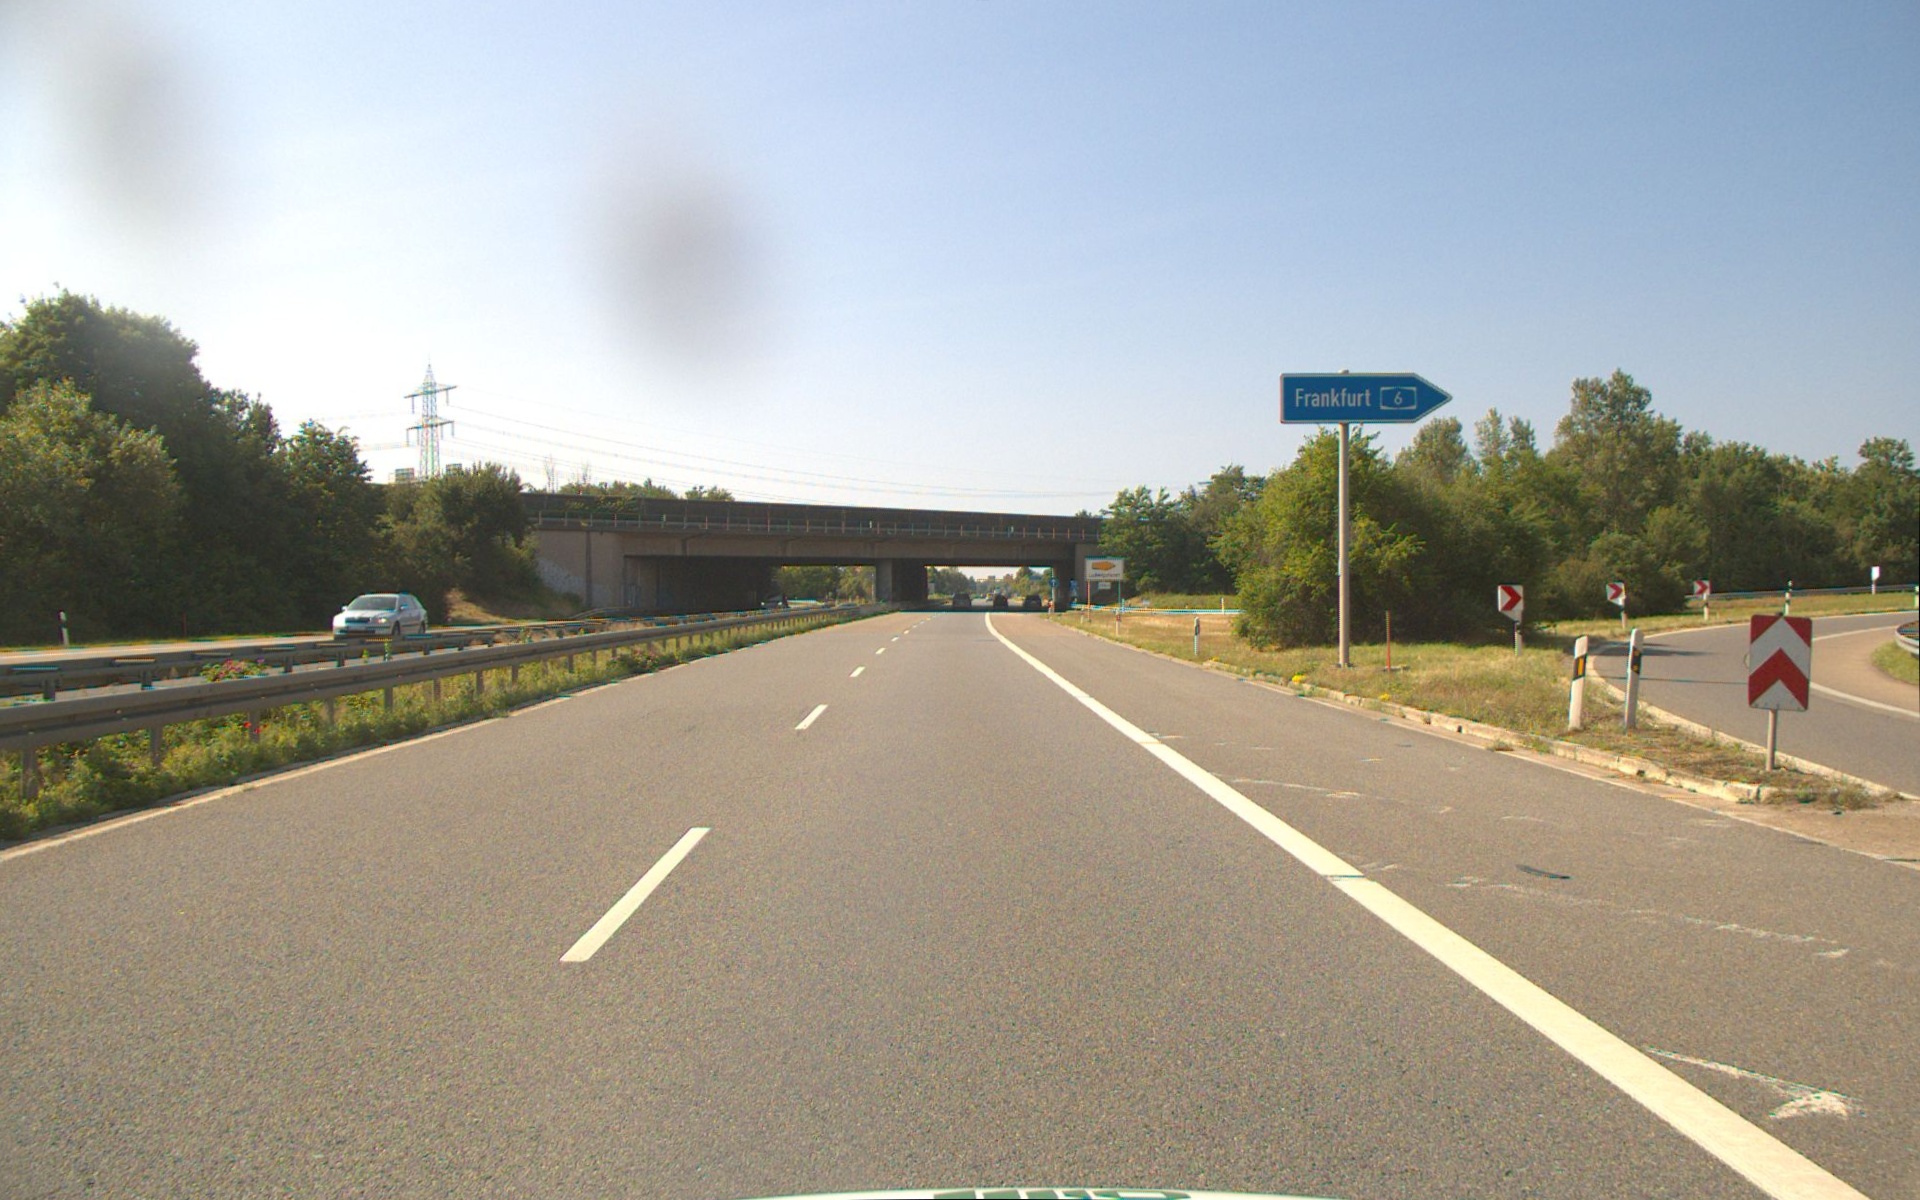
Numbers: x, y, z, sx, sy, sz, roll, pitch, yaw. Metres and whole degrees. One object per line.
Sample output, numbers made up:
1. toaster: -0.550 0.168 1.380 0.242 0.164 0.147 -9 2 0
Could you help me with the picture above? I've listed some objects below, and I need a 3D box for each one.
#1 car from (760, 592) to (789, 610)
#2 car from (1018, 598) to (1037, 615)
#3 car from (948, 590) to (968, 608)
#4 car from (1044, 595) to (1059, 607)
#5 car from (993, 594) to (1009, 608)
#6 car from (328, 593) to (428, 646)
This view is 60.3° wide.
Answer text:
1. car: -15.064 0.081 134.314 1.922 1.434 3.636 -1 1 -1
2. car: 6.774 0.648 166.243 1.812 1.673 4.000 0 0 0
3. car: -0.203 -0.078 153.031 1.812 1.673 4.000 0 0 0
4. car: 12.582 0.136 228.386 1.812 1.673 4.000 0 0 0
5. car: 5.011 0.105 201.953 1.812 1.673 4.000 0 0 0
6. car: -16.922 0.548 48.260 1.641 1.434 3.762 1 1 -1
